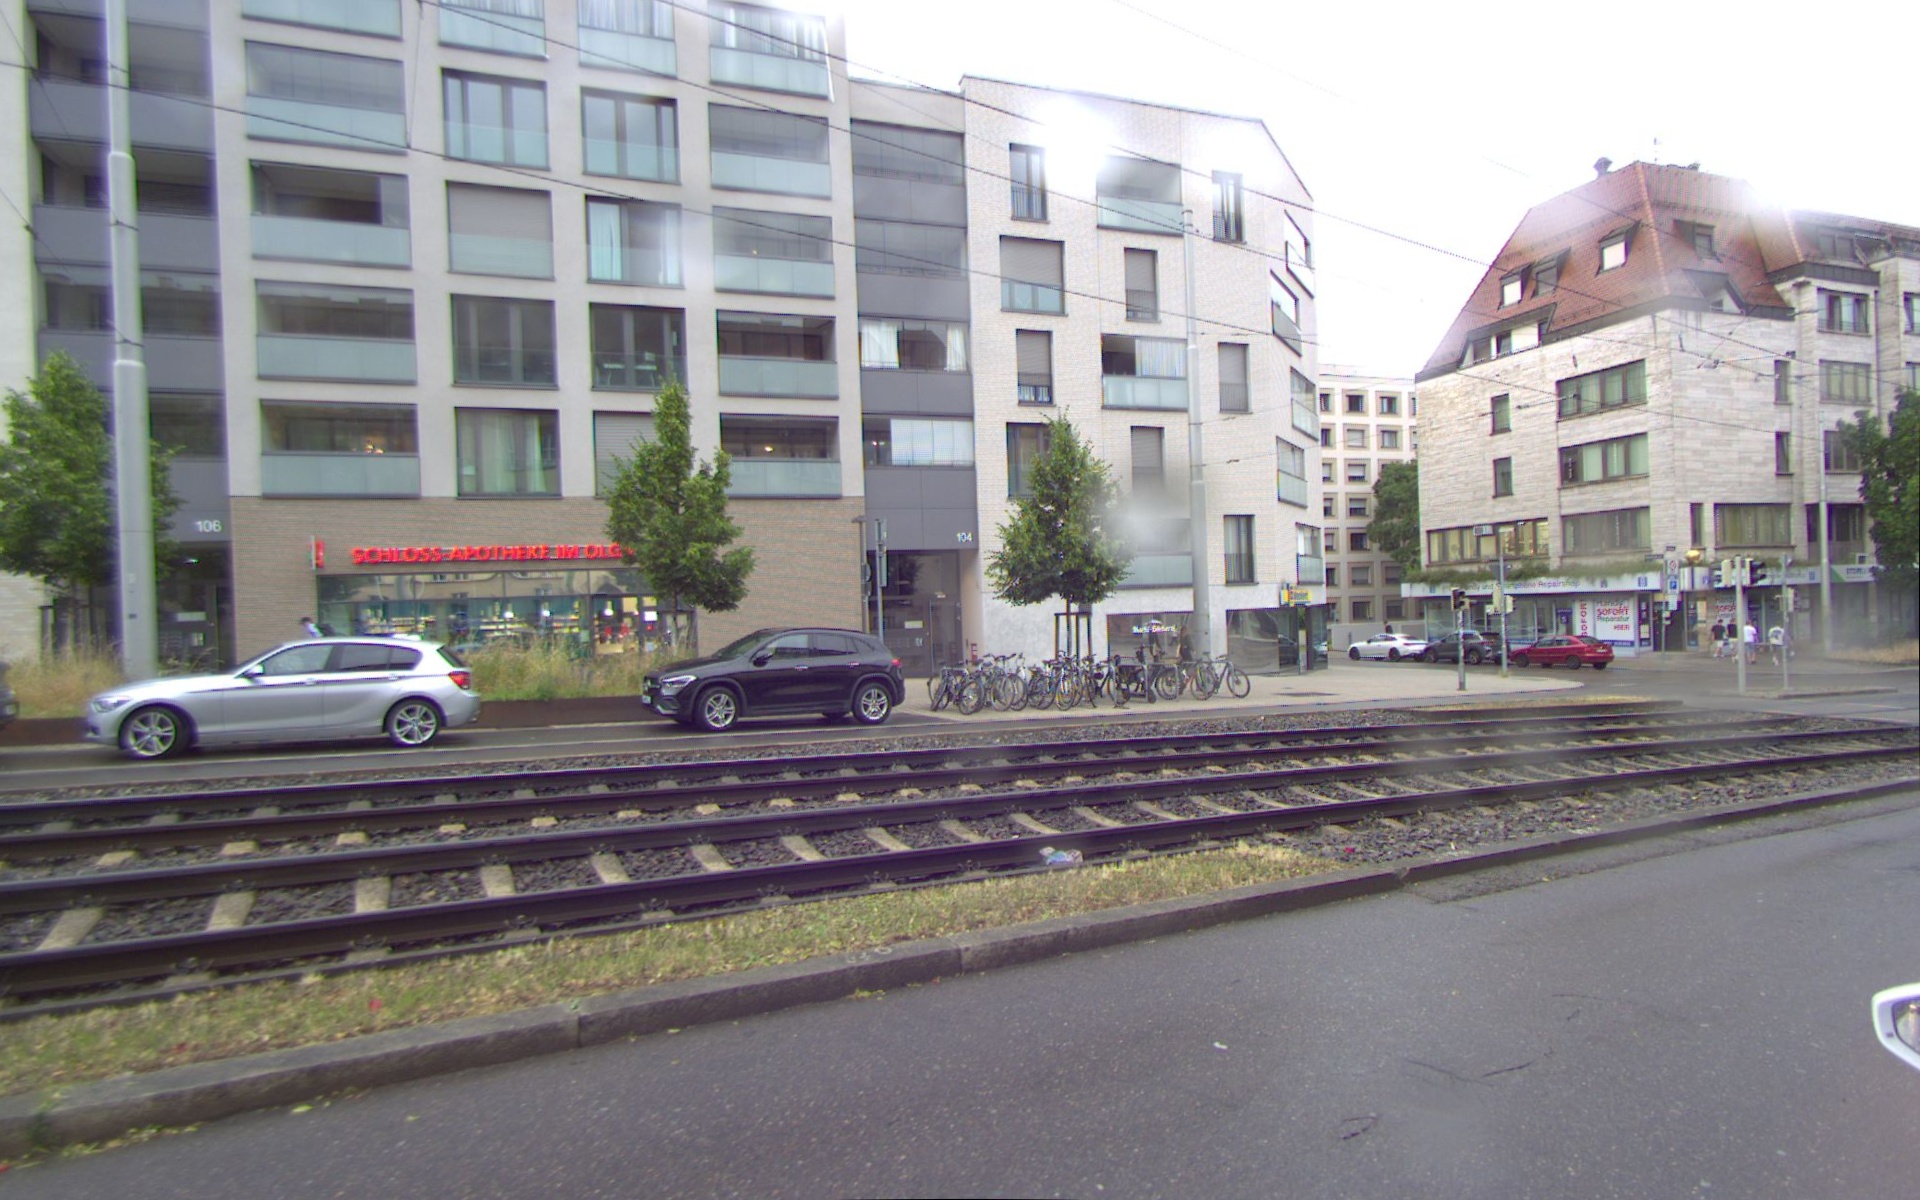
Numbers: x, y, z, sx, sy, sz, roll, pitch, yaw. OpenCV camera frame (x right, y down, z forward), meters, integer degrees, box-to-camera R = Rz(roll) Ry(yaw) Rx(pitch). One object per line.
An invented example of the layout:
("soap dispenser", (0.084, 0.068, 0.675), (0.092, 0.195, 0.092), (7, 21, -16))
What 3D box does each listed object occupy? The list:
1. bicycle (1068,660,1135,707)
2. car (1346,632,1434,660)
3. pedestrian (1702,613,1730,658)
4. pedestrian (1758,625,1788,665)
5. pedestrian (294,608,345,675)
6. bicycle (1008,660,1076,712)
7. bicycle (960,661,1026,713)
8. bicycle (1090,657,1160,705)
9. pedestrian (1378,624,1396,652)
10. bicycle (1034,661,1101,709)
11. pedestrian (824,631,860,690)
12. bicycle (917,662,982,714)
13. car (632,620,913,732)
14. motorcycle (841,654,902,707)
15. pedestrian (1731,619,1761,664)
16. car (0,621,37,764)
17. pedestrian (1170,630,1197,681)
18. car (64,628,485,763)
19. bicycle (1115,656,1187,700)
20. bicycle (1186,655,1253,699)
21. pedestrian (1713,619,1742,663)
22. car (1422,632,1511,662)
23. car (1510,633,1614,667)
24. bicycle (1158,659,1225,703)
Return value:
("bicycle", (3.131, 1.836, 22.318), (0.383, 0.930, 1.772), (1, -1, -34))
("car", (22.158, 2.375, 51.980), (1.570, 1.335, 4.482), (2, -2, -20))
("pedestrian", (31.935, 1.495, 42.411), (0.674, 1.867, 0.646), (2, 0, -22))
("pedestrian", (32.287, 1.778, 39.872), (0.674, 1.569, 0.646), (2, 0, -22))
("pedestrian", (-14.469, 0.933, 22.697), (0.790, 1.468, 0.656), (2, 0, -18))
("bicycle", (1.673, 1.758, 20.824), (0.383, 0.930, 1.772), (1, -1, -34))
("bicycle", (0.663, 1.759, 20.529), (0.383, 0.930, 1.772), (1, -1, -34))
("bicycle", (3.754, 1.833, 23.020), (0.384, 0.930, 1.769), (1, 0, -38))
("pedestrian", (24.245, 2.162, 57.033), (0.640, 1.569, 0.680), (2, 0, -22))
("bicycle", (2.304, 1.806, 21.657), (0.383, 0.930, 1.773), (1, -2, -34))
("pedestrian", (-3.024, 1.547, 25.650), (0.790, 1.468, 0.538), (2, 0, -18))
("bicycle", (-0.226, 1.745, 20.132), (0.383, 0.930, 1.772), (1, -1, -34))
("car", (-3.066, 1.195, 16.731), (4.280, 1.625, 1.671), (2, -1, -31))
("motorcycle", (-1.918, 1.714, 21.606), (0.537, 1.056, 1.748), (3, -4, -33))
("pedestrian", (31.792, 1.671, 40.619), (0.674, 1.747, 0.646), (2, 0, -22))
("car", (-12.715, 0.994, 10.702), (4.010, 1.550, 1.669), (2, -1, -35))
("pedestrian", (7.147, 1.773, 32.127), (0.637, 1.590, 0.775), (0, -1, 33))
("car", (-8.673, 1.144, 13.151), (4.280, 1.484, 1.671), (2, -1, -31))
("bicycle", (4.550, 1.839, 23.988), (1.764, 0.930, 0.385), (0, -1, 44))
("bicycle", (6.363, 1.872, 24.715), (0.436, 0.993, 1.773), (1, -2, -34))
("pedestrian", (31.515, 1.669, 41.239), (0.674, 1.772, 0.646), (2, 0, -22))
("car", (23.878, 2.202, 47.443), (1.570, 1.335, 3.689), (2, -2, -20))
("car", (25.568, 2.103, 42.804), (1.569, 1.335, 3.691), (2, -2, -18))
("bicycle", (5.477, 1.900, 23.863), (0.383, 0.888, 1.774), (2, 0, -31))
